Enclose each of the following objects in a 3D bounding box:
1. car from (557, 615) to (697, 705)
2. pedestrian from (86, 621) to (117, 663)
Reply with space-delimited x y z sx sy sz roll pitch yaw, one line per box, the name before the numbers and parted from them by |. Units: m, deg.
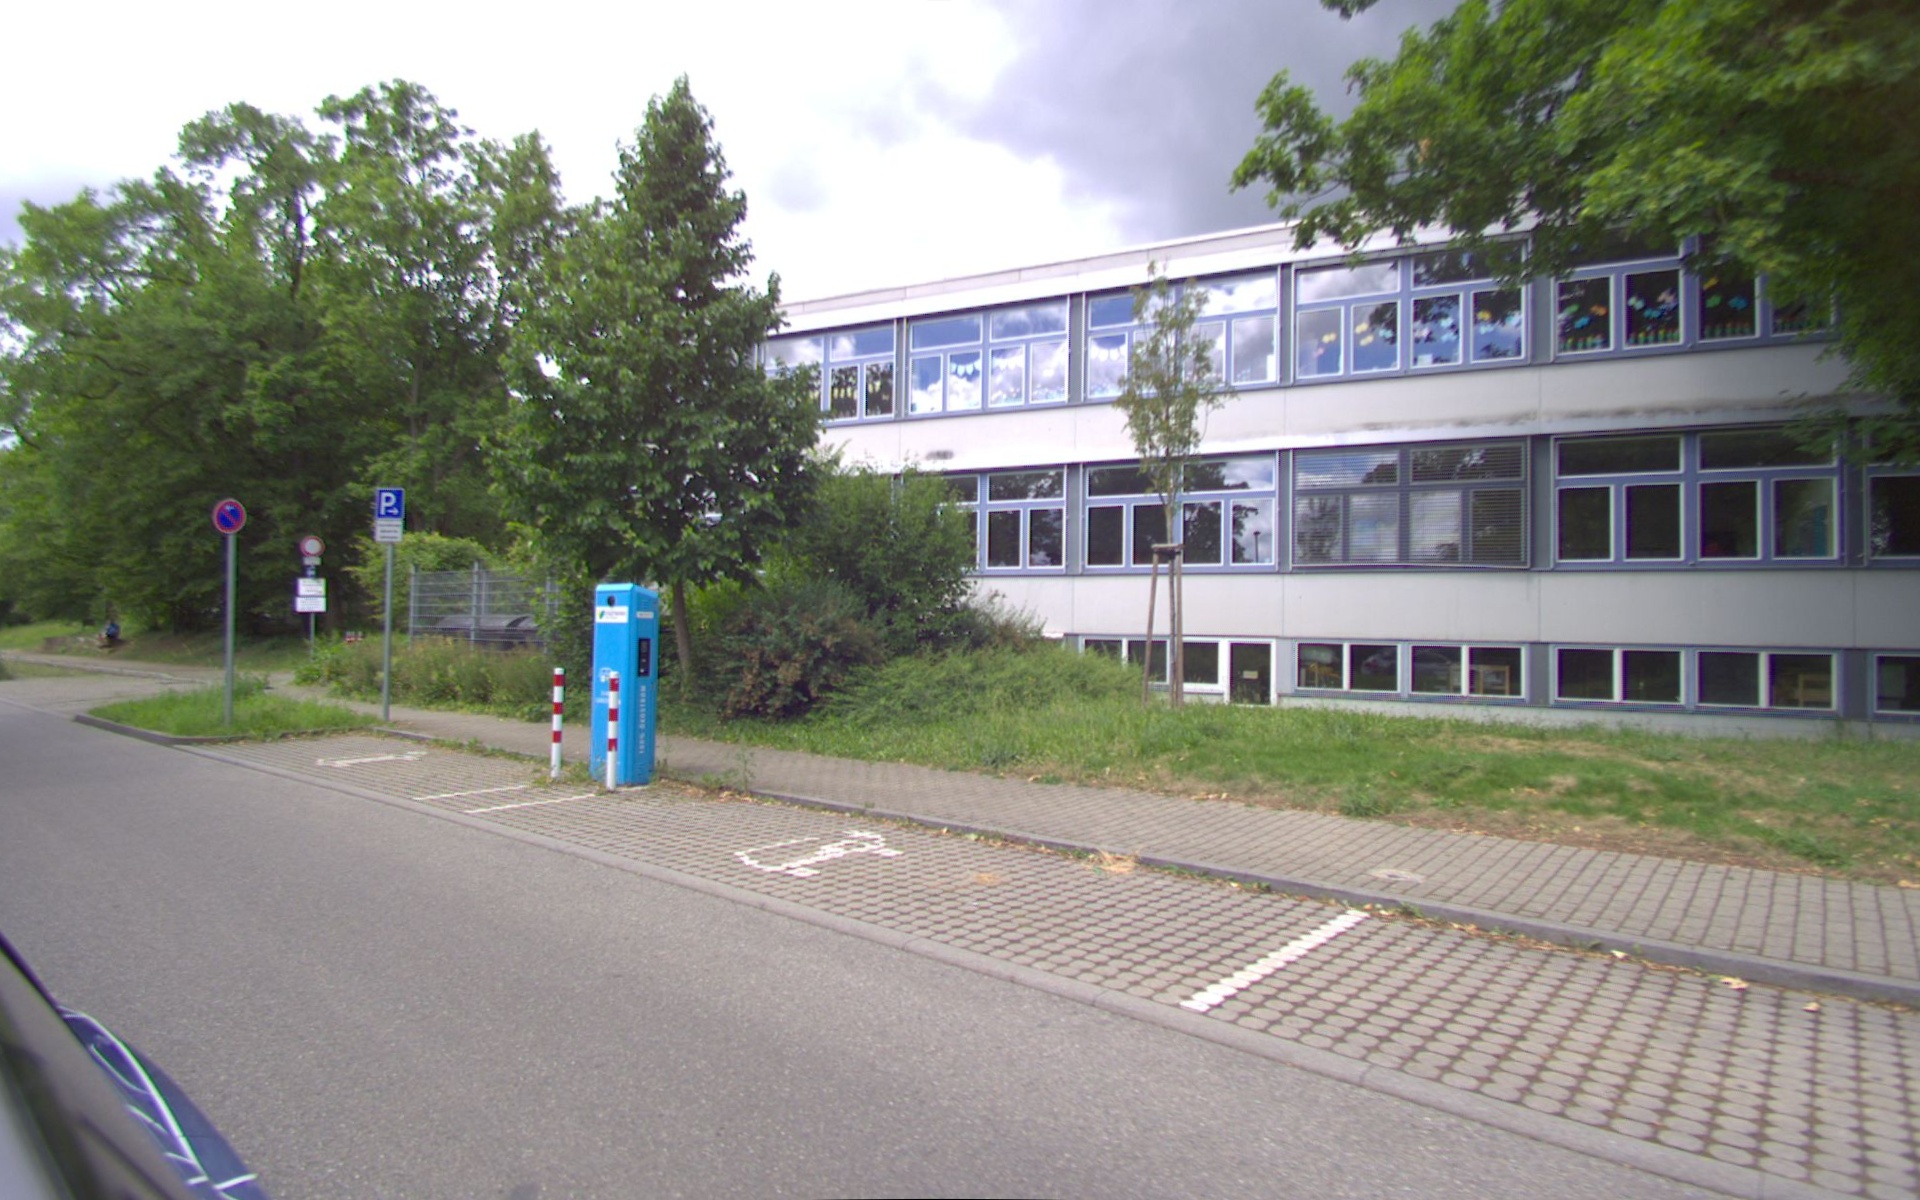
car | -8.323 1.441 25.101 1.968 2.029 4.007 2 -3 -39
pedestrian | -34.945 1.706 41.214 0.807 1.675 0.753 -2 -3 37
